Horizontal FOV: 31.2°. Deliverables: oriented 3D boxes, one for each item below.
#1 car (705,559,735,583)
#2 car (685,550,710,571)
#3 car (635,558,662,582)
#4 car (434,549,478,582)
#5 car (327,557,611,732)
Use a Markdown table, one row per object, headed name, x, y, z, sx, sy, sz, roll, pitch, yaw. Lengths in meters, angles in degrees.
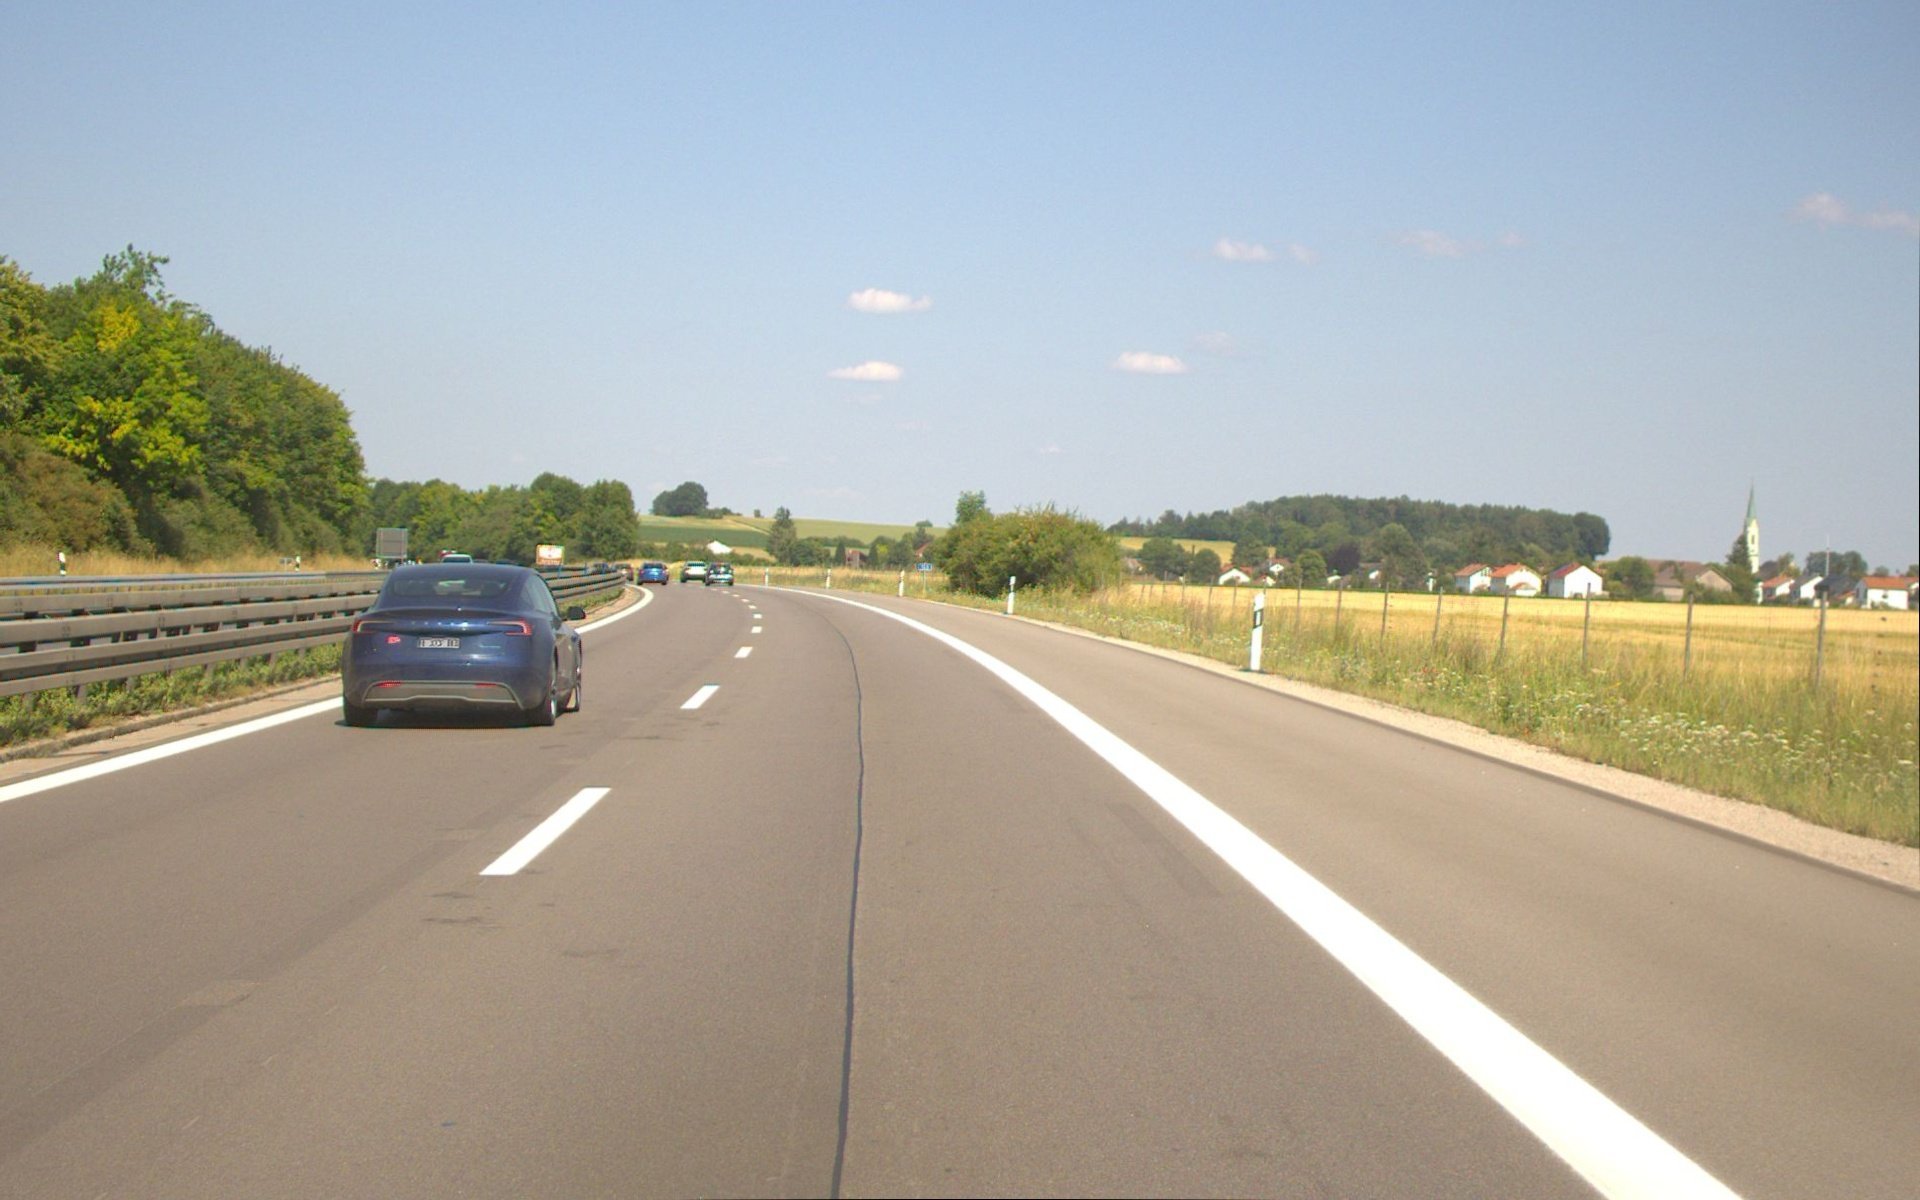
| name | x | y | z | sx | sy | sz | roll | pitch | yaw |
| --- | --- | --- | --- | --- | --- | --- | --- | --- | --- |
| car | -14.772 | -1.774 | 211.357 | 1.675 | 1.448 | 3.593 | 1 | 1 | -6 |
| car | -19.037 | -2.886 | 249.397 | 1.675 | 1.448 | 3.593 | 1 | 1 | -6 |
| car | -19.732 | -1.894 | 217.826 | 1.676 | 1.448 | 3.592 | 1 | 1 | -4 |
| car | -24.807 | -1.726 | 169.320 | 1.751 | 1.559 | 4.581 | 2 | 1 | -4 |
| car | -4.474 | 0.343 | 32.190 | 1.847 | 1.428 | 5.866 | 1 | 1 | 0 |
